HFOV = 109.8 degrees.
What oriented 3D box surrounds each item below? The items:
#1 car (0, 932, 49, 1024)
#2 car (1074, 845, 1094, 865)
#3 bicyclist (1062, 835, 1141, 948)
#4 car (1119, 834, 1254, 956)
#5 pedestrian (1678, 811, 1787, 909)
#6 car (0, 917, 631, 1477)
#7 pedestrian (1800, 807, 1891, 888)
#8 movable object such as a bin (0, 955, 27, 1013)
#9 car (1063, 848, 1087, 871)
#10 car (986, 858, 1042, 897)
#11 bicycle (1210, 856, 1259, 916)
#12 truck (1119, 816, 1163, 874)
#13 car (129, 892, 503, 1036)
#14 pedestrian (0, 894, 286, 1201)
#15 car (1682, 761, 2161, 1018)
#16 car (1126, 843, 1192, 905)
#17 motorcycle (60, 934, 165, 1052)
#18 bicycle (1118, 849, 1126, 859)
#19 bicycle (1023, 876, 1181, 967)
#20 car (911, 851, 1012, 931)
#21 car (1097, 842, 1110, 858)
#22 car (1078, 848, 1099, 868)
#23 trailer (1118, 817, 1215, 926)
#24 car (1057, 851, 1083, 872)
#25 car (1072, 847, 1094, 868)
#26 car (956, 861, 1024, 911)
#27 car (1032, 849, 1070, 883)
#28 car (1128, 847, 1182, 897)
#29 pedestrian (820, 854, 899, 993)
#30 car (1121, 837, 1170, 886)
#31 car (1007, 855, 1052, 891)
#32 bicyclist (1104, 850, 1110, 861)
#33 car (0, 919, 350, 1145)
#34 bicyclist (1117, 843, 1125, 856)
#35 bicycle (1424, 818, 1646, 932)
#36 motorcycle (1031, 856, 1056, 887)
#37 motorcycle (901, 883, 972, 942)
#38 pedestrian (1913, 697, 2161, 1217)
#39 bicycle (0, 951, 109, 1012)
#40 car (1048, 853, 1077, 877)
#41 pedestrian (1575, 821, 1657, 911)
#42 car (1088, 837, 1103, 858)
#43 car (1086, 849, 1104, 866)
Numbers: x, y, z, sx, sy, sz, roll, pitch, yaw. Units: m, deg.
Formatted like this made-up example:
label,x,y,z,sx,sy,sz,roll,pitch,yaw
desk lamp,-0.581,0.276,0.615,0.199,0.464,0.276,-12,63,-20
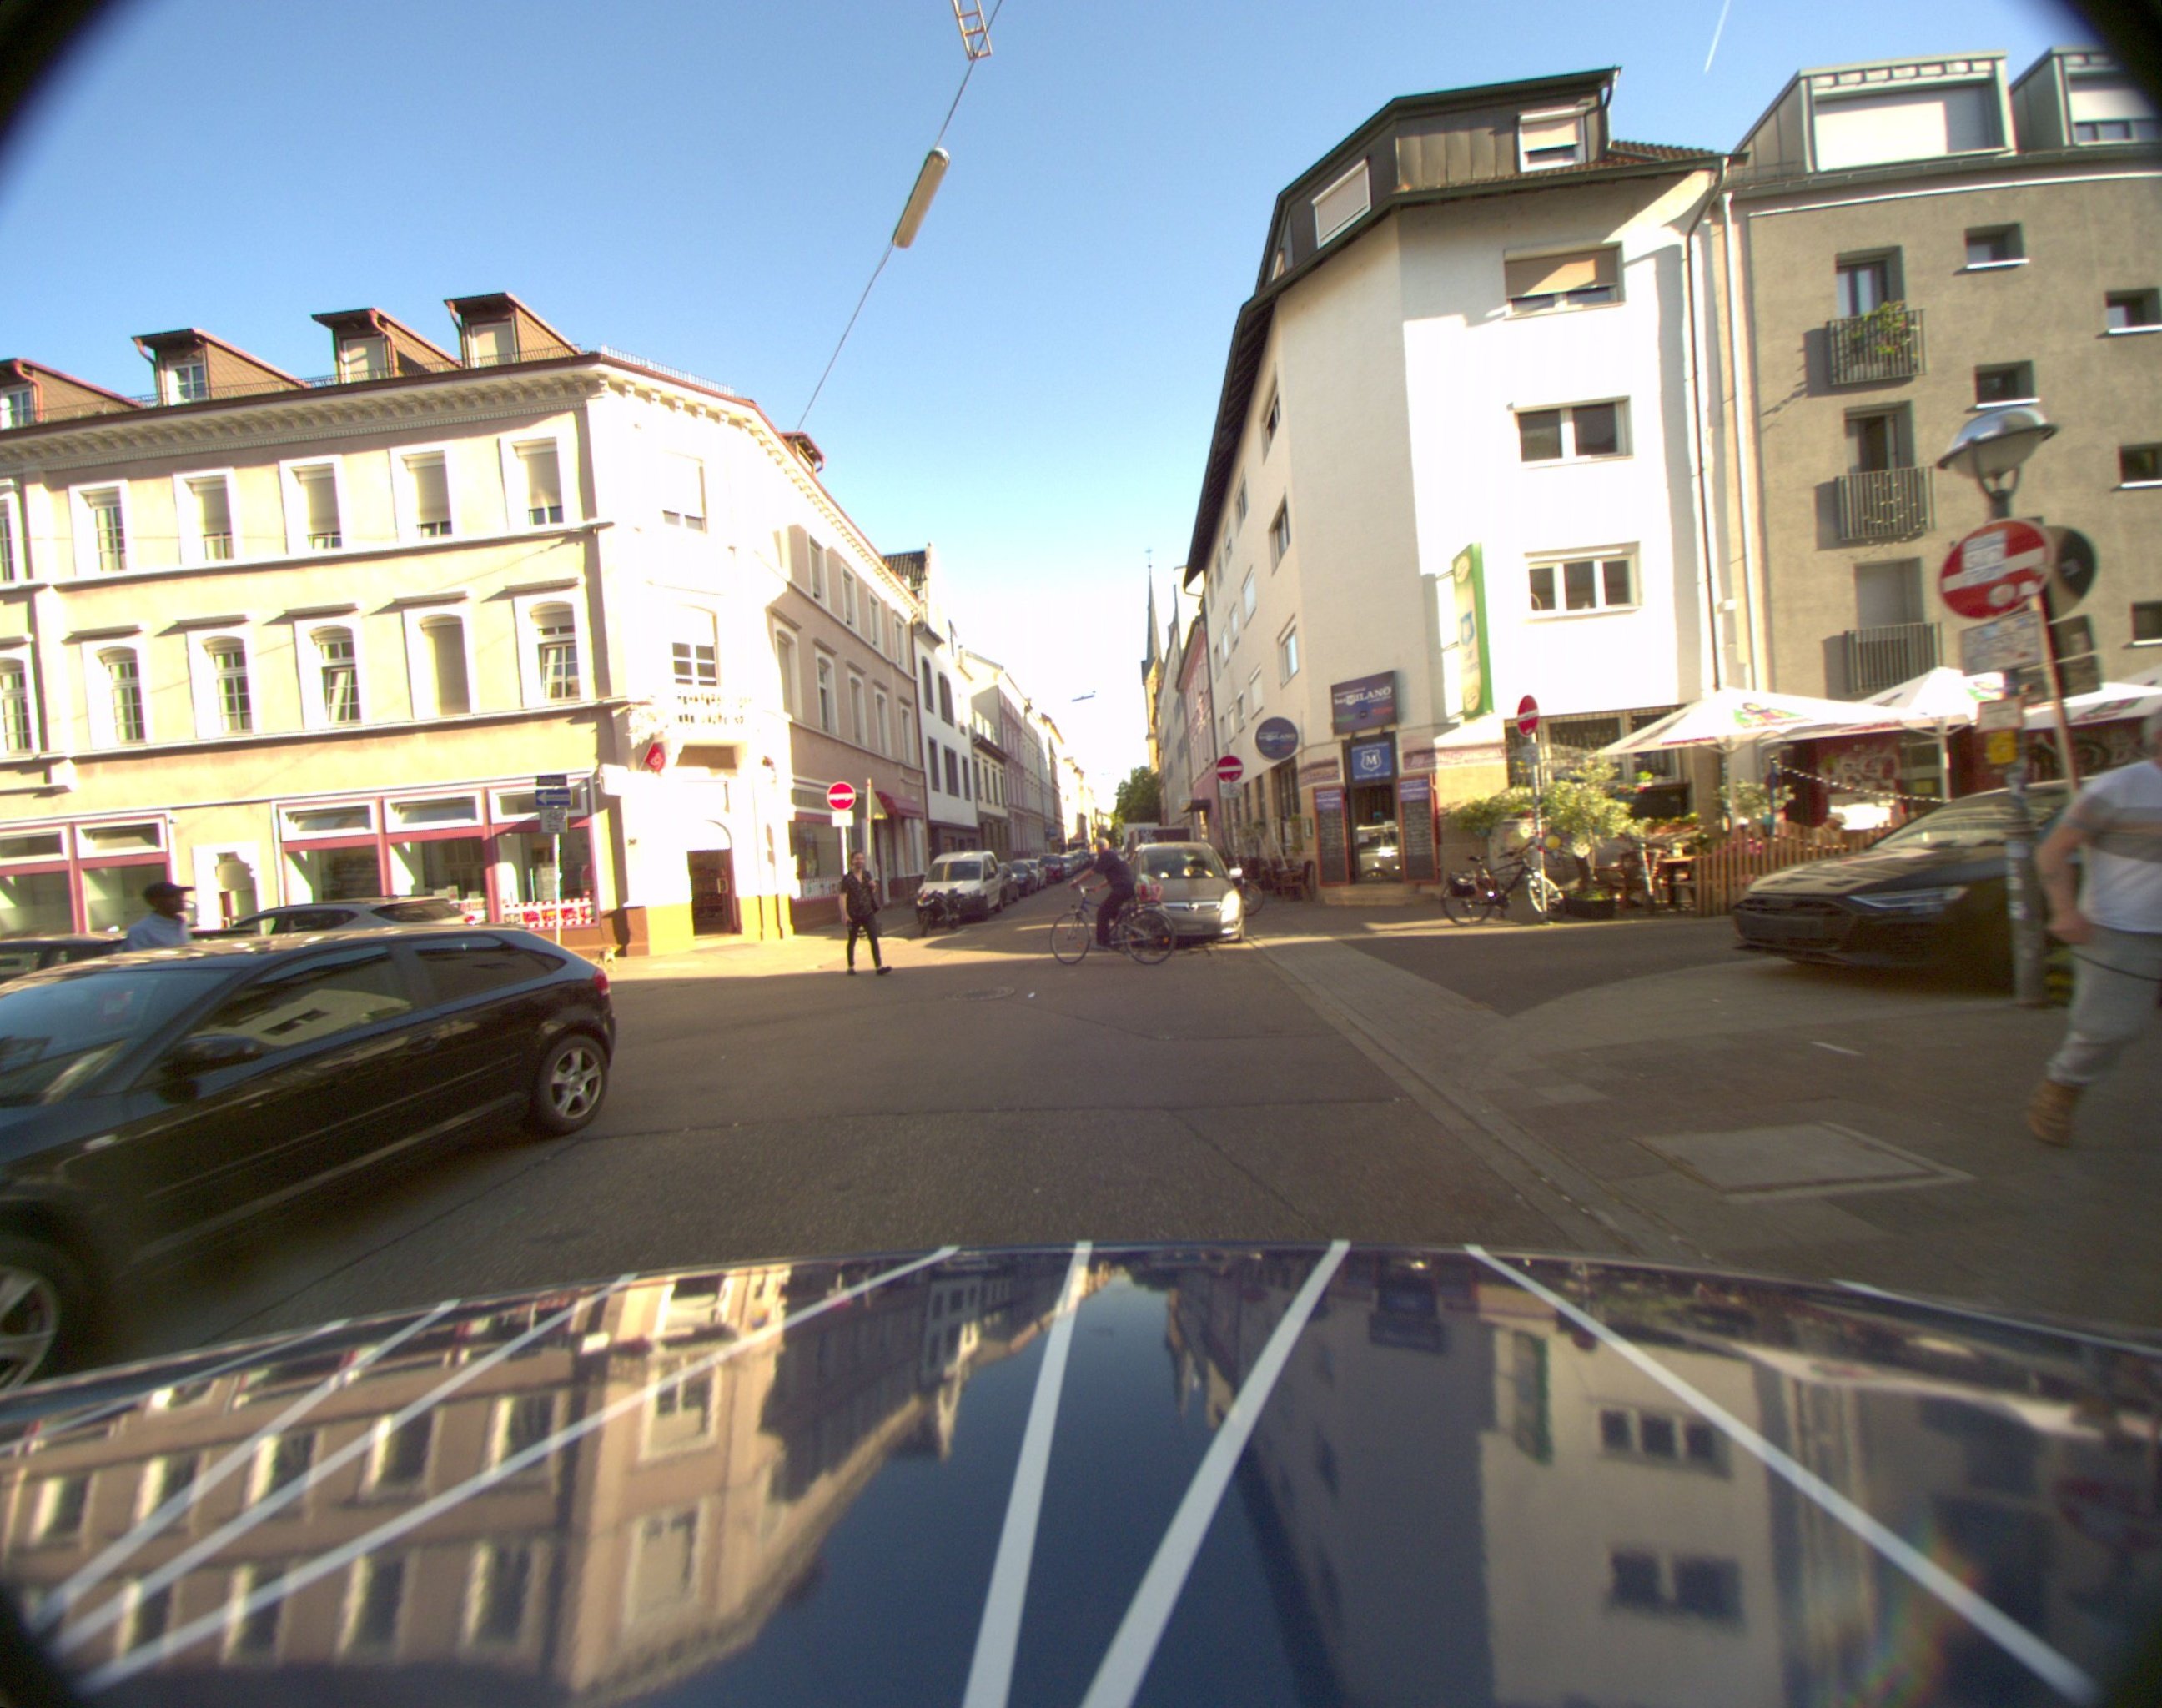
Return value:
label,x,y,z,sx,sy,sz,roll,pitch,yaw
car,-20.741,2.398,12.960,3.912,1.505,1.751,-6,4,4
car,0.345,0.085,76.161,1.713,1.802,4.221,-4,1,3
bicyclist,0.284,0.496,10.113,0.788,1.427,0.711,-4,-1,20
car,1.574,0.569,12.701,1.726,1.596,4.167,-4,0,2
pedestrian,9.250,0.077,10.823,0.850,1.259,0.706,-6,1,7
car,-4.188,1.260,3.293,1.776,1.426,4.034,-6,1,3
pedestrian,11.703,-0.100,11.659,0.659,1.148,0.681,-6,1,13
movable object such as a bin,-22.262,2.693,15.406,0.716,1.110,0.667,-6,1,5
car,-0.484,0.465,64.127,1.713,1.721,4.221,-4,1,3
car,-2.758,0.942,32.058,1.735,1.388,3.882,-4,1,3
bicycle,3.185,0.642,15.905,0.577,1.132,1.461,-6,1,-2
truck,3.743,-0.569,47.003,2.296,3.165,7.045,-4,1,5
car,-12.045,1.689,12.160,4.068,1.623,1.856,-6,3,4
pedestrian,-6.414,1.256,5.261,0.771,1.839,0.780,-6,1,-8
car,7.303,0.122,5.638,4.149,1.447,1.759,-6,0,2
car,2.221,0.514,22.459,1.680,1.546,3.818,-4,1,3
motorcycle,-15.710,2.195,12.344,2.330,1.639,0.853,-6,1,38
bicycle,7.283,0.073,135.444,1.019,1.641,3.547,-6,1,-1
bicycle,0.279,0.902,10.134,1.931,1.104,0.711,-4,-1,20
car,-3.163,0.908,21.016,1.752,1.806,4.370,-4,1,3
car,4.246,-0.789,141.079,1.998,2.777,4.563,-6,1,0
car,0.854,0.428,84.929,1.998,2.002,4.564,-6,1,1
trailer,1.795,0.309,17.159,1.665,2.049,4.363,-4,1,1
car,-0.831,0.575,58.831,1.612,1.444,3.882,-4,1,3
car,0.180,0.289,70.826,1.713,1.721,4.221,-4,1,3
car,-3.076,1.039,26.366,1.612,1.400,3.882,-4,1,3
car,-1.719,0.666,44.655,1.713,1.721,4.408,-4,1,3
car,2.589,0.569,27.324,1.677,1.488,4.531,-4,1,3
pedestrian,-3.089,0.909,10.549,0.829,1.782,0.988,-3,2,-25
car,2.704,0.264,32.604,1.806,1.834,4.244,-4,1,3
car,-2.447,0.884,37.052,1.620,1.495,3.773,-4,1,3
bicyclist,4.250,0.252,124.853,0.716,1.650,0.877,-6,1,1
car,-9.027,1.529,6.535,3.876,1.445,1.677,-6,0,4
bicyclist,7.170,-0.771,135.384,1.019,2.280,1.532,-6,1,-1
bicycle,6.386,0.288,10.824,2.481,1.351,0.928,-5,1,4
motorcycle,-1.990,0.912,40.583,0.990,1.481,2.268,-4,1,3
motorcycle,-3.255,1.292,17.355,0.720,1.080,1.998,-5,1,14
pedestrian,3.778,0.307,2.568,0.695,1.691,0.865,-9,-1,4
bicycle,-20.753,2.564,15.323,1.643,1.003,0.455,-6,1,2
car,-1.224,0.742,52.453,1.612,1.388,3.882,-4,1,3
pedestrian,8.073,0.167,11.495,0.687,1.259,0.660,-6,1,7
car,2.192,-0.998,115.091,1.998,2.777,4.563,-6,1,0
car,1.791,0.435,97.584,1.998,2.002,4.563,-6,1,0
